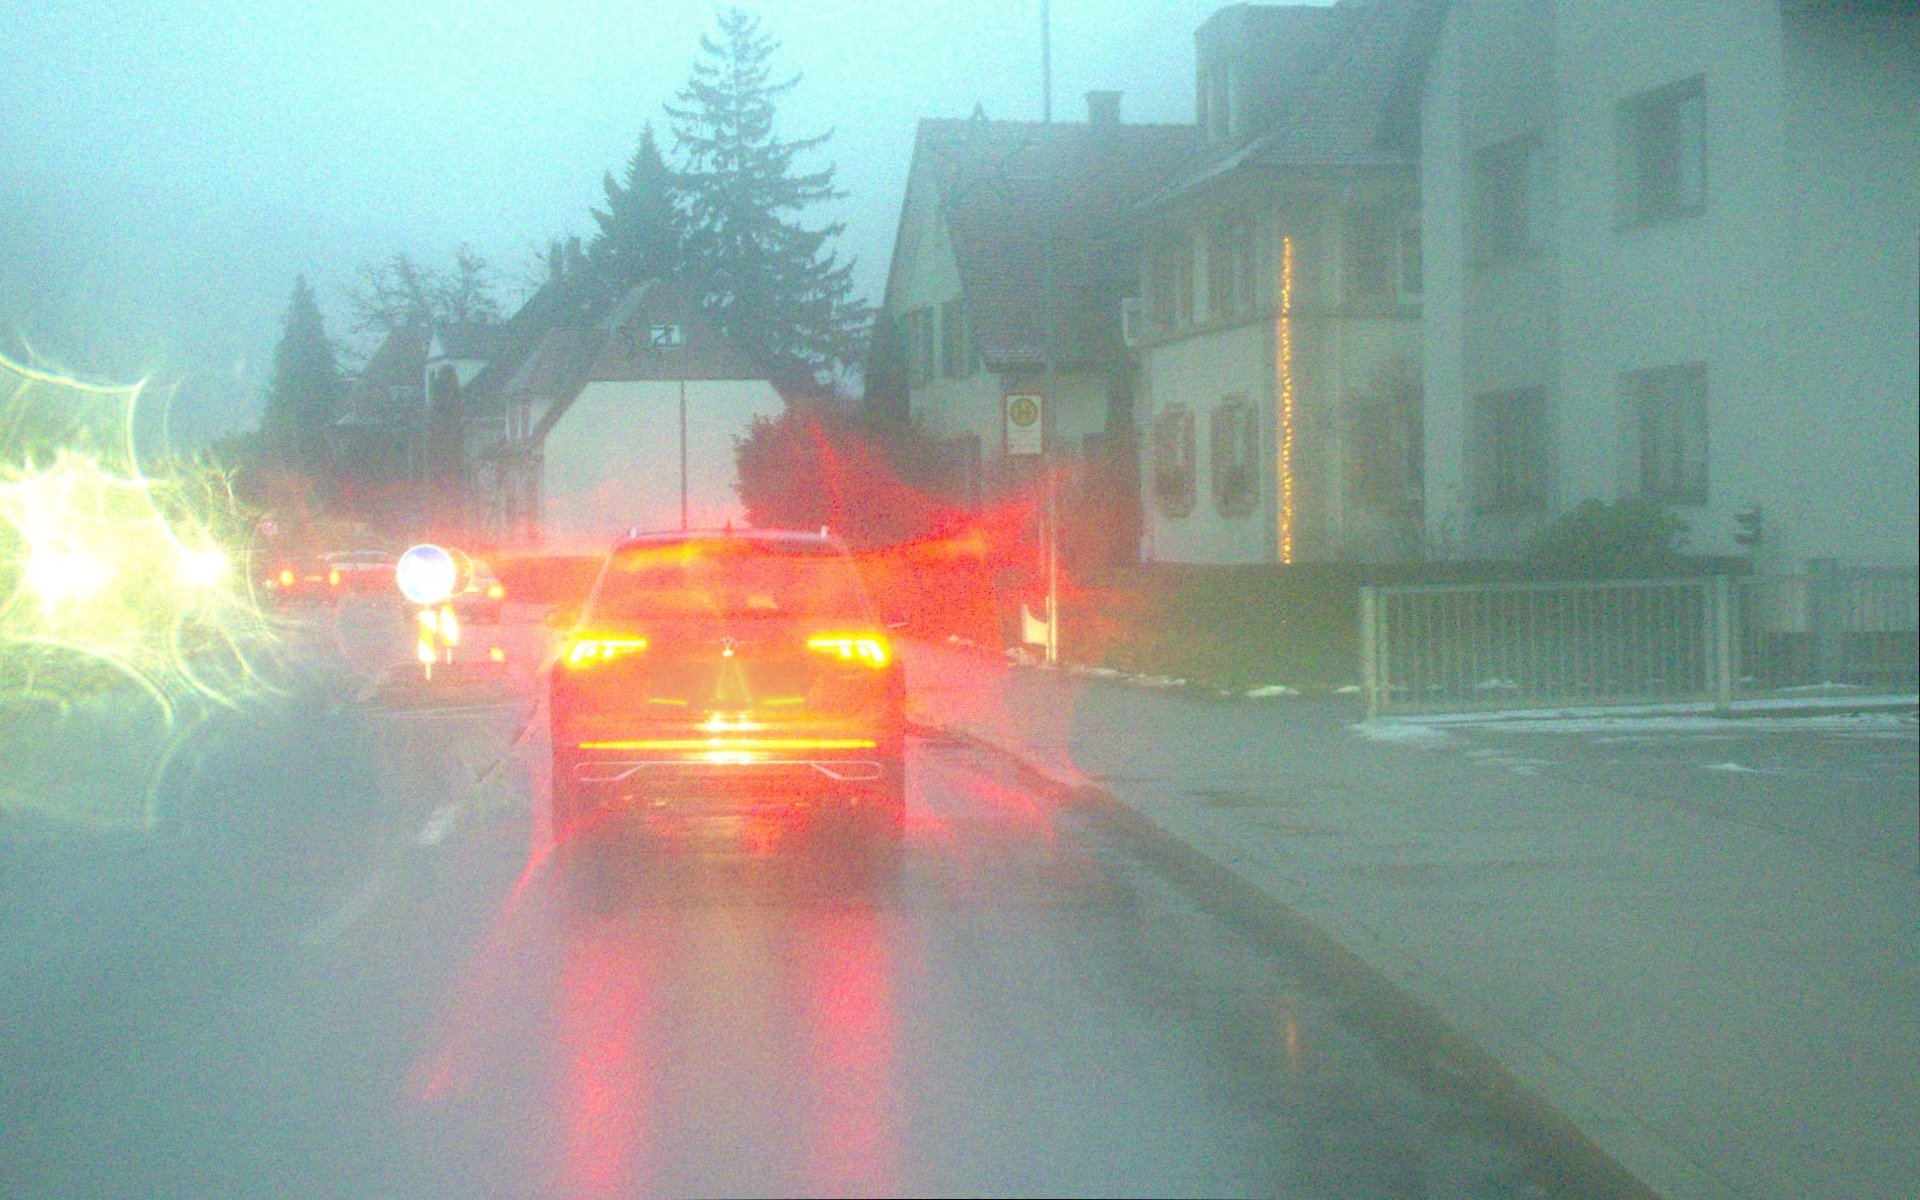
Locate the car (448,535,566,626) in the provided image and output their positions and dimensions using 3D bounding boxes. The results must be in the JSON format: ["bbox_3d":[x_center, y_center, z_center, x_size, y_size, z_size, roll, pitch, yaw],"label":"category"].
[{"bbox_3d":[-10.217,-0.436,77.178,2.309,1.932,5.019,-1,0,-11],"label":"car"}]

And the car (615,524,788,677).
[{"bbox_3d":[-2.952,-0.038,39.131,1.857,1.641,4.001,0,1,-5],"label":"car"}]

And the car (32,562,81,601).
[{"bbox_3d":[-37.927,-0.788,144.311,1.823,1.548,4.001,-2,1,-16],"label":"car"}]

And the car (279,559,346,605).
[{"bbox_3d":[-19.413,-0.550,102.959,1.842,1.327,3.939,-1,1,-12],"label":"car"}]

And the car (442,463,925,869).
[{"bbox_3d":[-1.432,0.303,19.152,2.309,1.932,5.018,-1,0,-2],"label":"car"}]
